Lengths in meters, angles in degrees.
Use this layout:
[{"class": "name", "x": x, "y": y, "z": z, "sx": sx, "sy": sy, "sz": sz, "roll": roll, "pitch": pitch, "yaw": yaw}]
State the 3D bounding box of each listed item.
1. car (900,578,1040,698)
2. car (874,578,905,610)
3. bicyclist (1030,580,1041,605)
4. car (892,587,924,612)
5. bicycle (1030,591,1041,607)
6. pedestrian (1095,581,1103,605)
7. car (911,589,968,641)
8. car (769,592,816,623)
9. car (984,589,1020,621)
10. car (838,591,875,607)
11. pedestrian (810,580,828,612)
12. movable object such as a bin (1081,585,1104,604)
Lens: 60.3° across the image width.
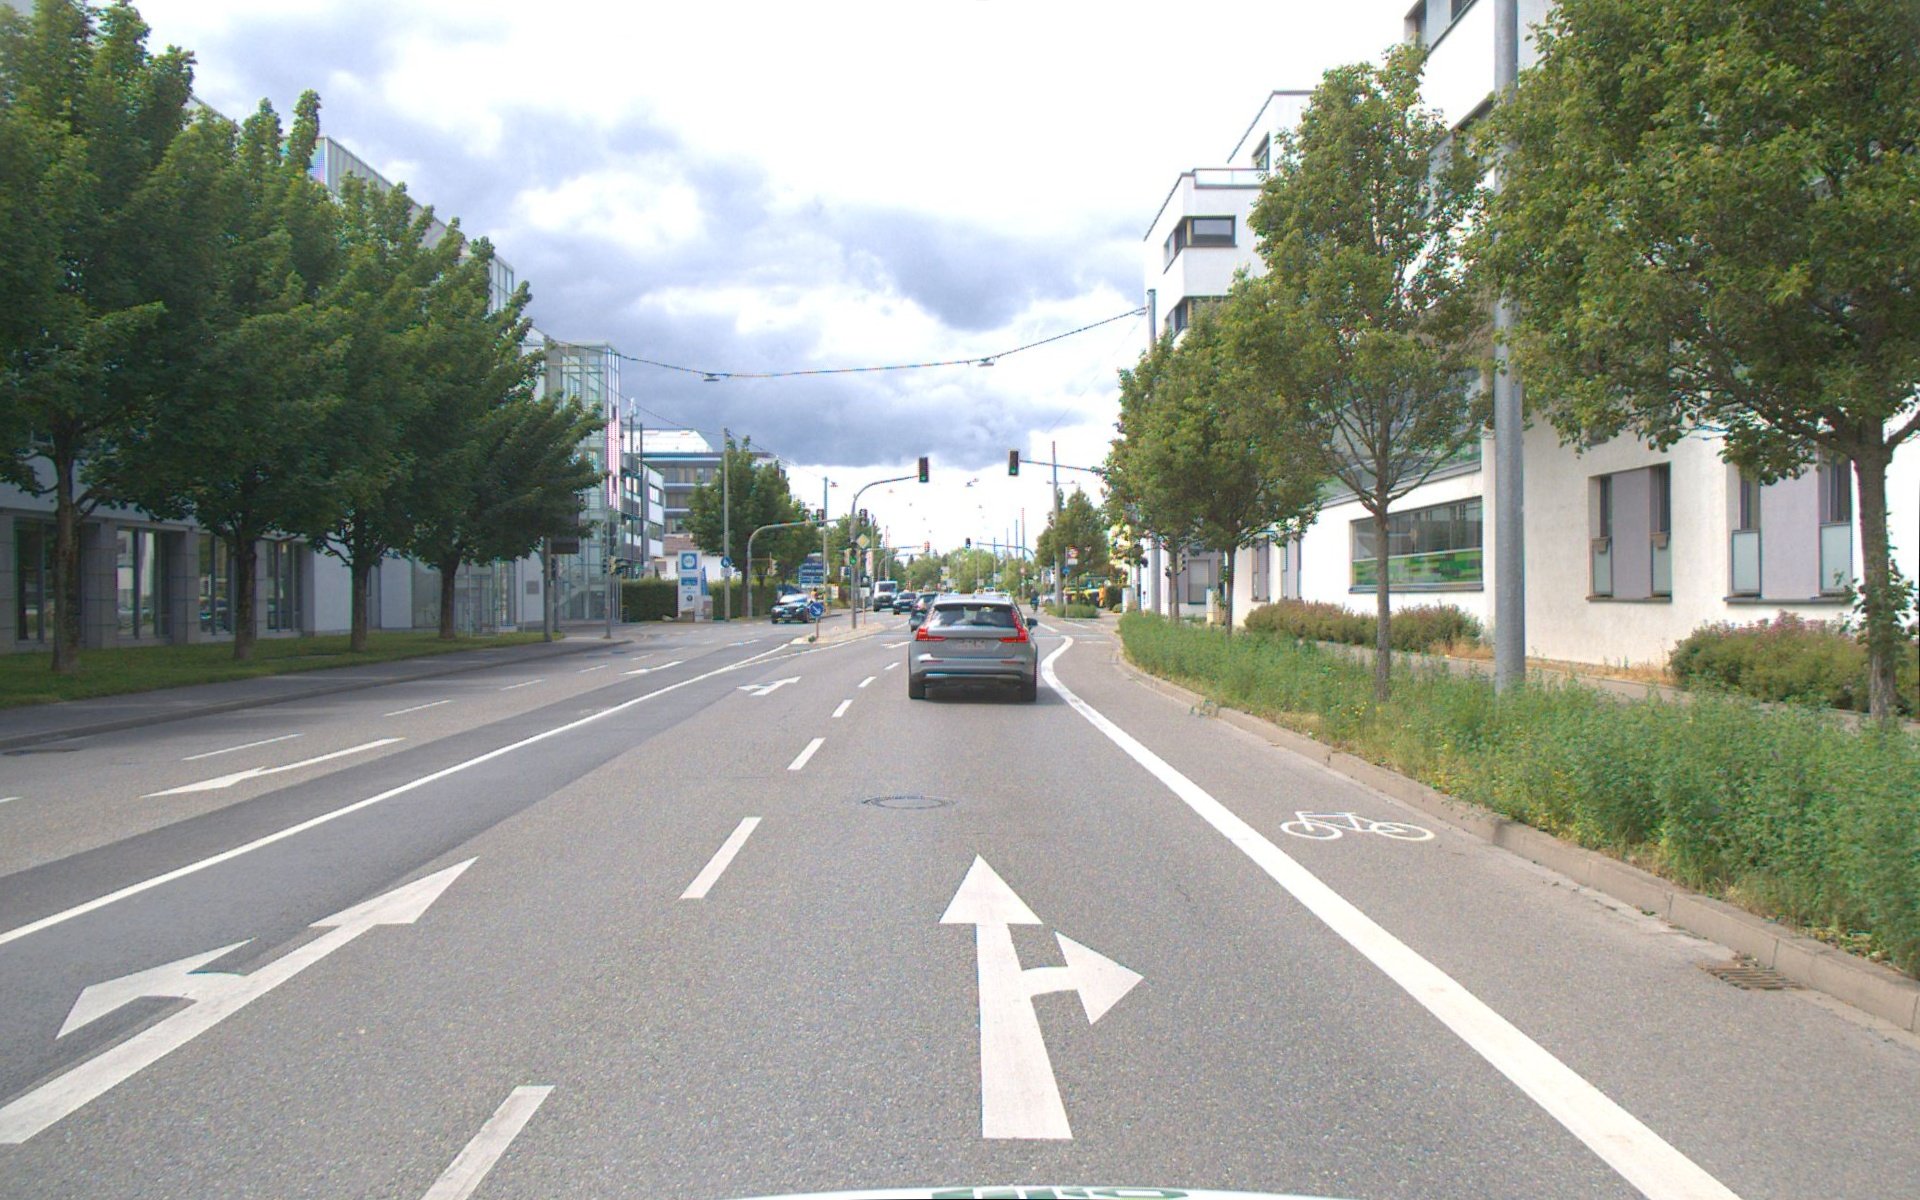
[{"class": "car", "x": 0.229, "y": 0.536, "z": 24.549, "sx": 1.856, "sy": 1.581, "sz": 4.001, "roll": 2, "pitch": -1, "yaw": 3}, {"class": "car", "x": -5.896, "y": -0.485, "z": 138.352, "sx": 2.098, "sy": 2.515, "sz": 6.074, "roll": -2, "pitch": 0, "yaw": 1}, {"class": "bicyclist", "x": 5.317, "y": -0.505, "z": 116.801, "sx": 0.625, "sy": 1.704, "sz": 0.890, "roll": -3, "pitch": 0, "yaw": 1}, {"class": "car", "x": -3.606, "y": -0.015, "z": 115.538, "sx": 1.846, "sy": 1.579, "sz": 4.541, "roll": -1, "pitch": -1, "yaw": 3}, {"class": "bicycle", "x": 5.341, "y": -0.050, "z": 116.635, "sx": 0.625, "sy": 1.081, "sz": 1.978, "roll": -4, "pitch": 0, "yaw": 1}, {"class": "pedestrian", "x": 10.694, "y": -0.545, "z": 127.138, "sx": 0.496, "sy": 1.796, "sz": 0.501, "roll": 1, "pitch": -1, "yaw": 17}, {"class": "car", "x": -0.789, "y": 0.544, "z": 60.149, "sx": 1.953, "sy": 1.747, "sz": 3.998, "roll": 2, "pitch": -1, "yaw": -2}, {"class": "car", "x": -8.660, "y": 0.382, "z": 85.771, "sx": 1.983, "sy": 1.470, "sz": 5.048, "roll": -2, "pitch": 0, "yaw": -1}, {"class": "car", "x": 2.401, "y": 0.292, "z": 95.335, "sx": 1.953, "sy": 1.724, "sz": 4.000, "roll": 2, "pitch": -1, "yaw": 0}, {"class": "car", "x": -11.863, "y": -0.115, "z": 189.246, "sx": 4.016, "sy": 1.421, "sz": 1.905, "roll": -6, "pitch": 1, "yaw": -7}, {"class": "pedestrian", "x": -9.293, "y": -0.275, "z": 109.058, "sx": 0.713, "sy": 2.049, "sz": 0.805, "roll": 1, "pitch": -1, "yaw": 43}, {"class": "movable object such as a bin", "x": 10.370, "y": -0.402, "z": 129.232, "sx": 1.297, "sy": 1.460, "sz": 1.246, "roll": -1, "pitch": -1, "yaw": 38}]
